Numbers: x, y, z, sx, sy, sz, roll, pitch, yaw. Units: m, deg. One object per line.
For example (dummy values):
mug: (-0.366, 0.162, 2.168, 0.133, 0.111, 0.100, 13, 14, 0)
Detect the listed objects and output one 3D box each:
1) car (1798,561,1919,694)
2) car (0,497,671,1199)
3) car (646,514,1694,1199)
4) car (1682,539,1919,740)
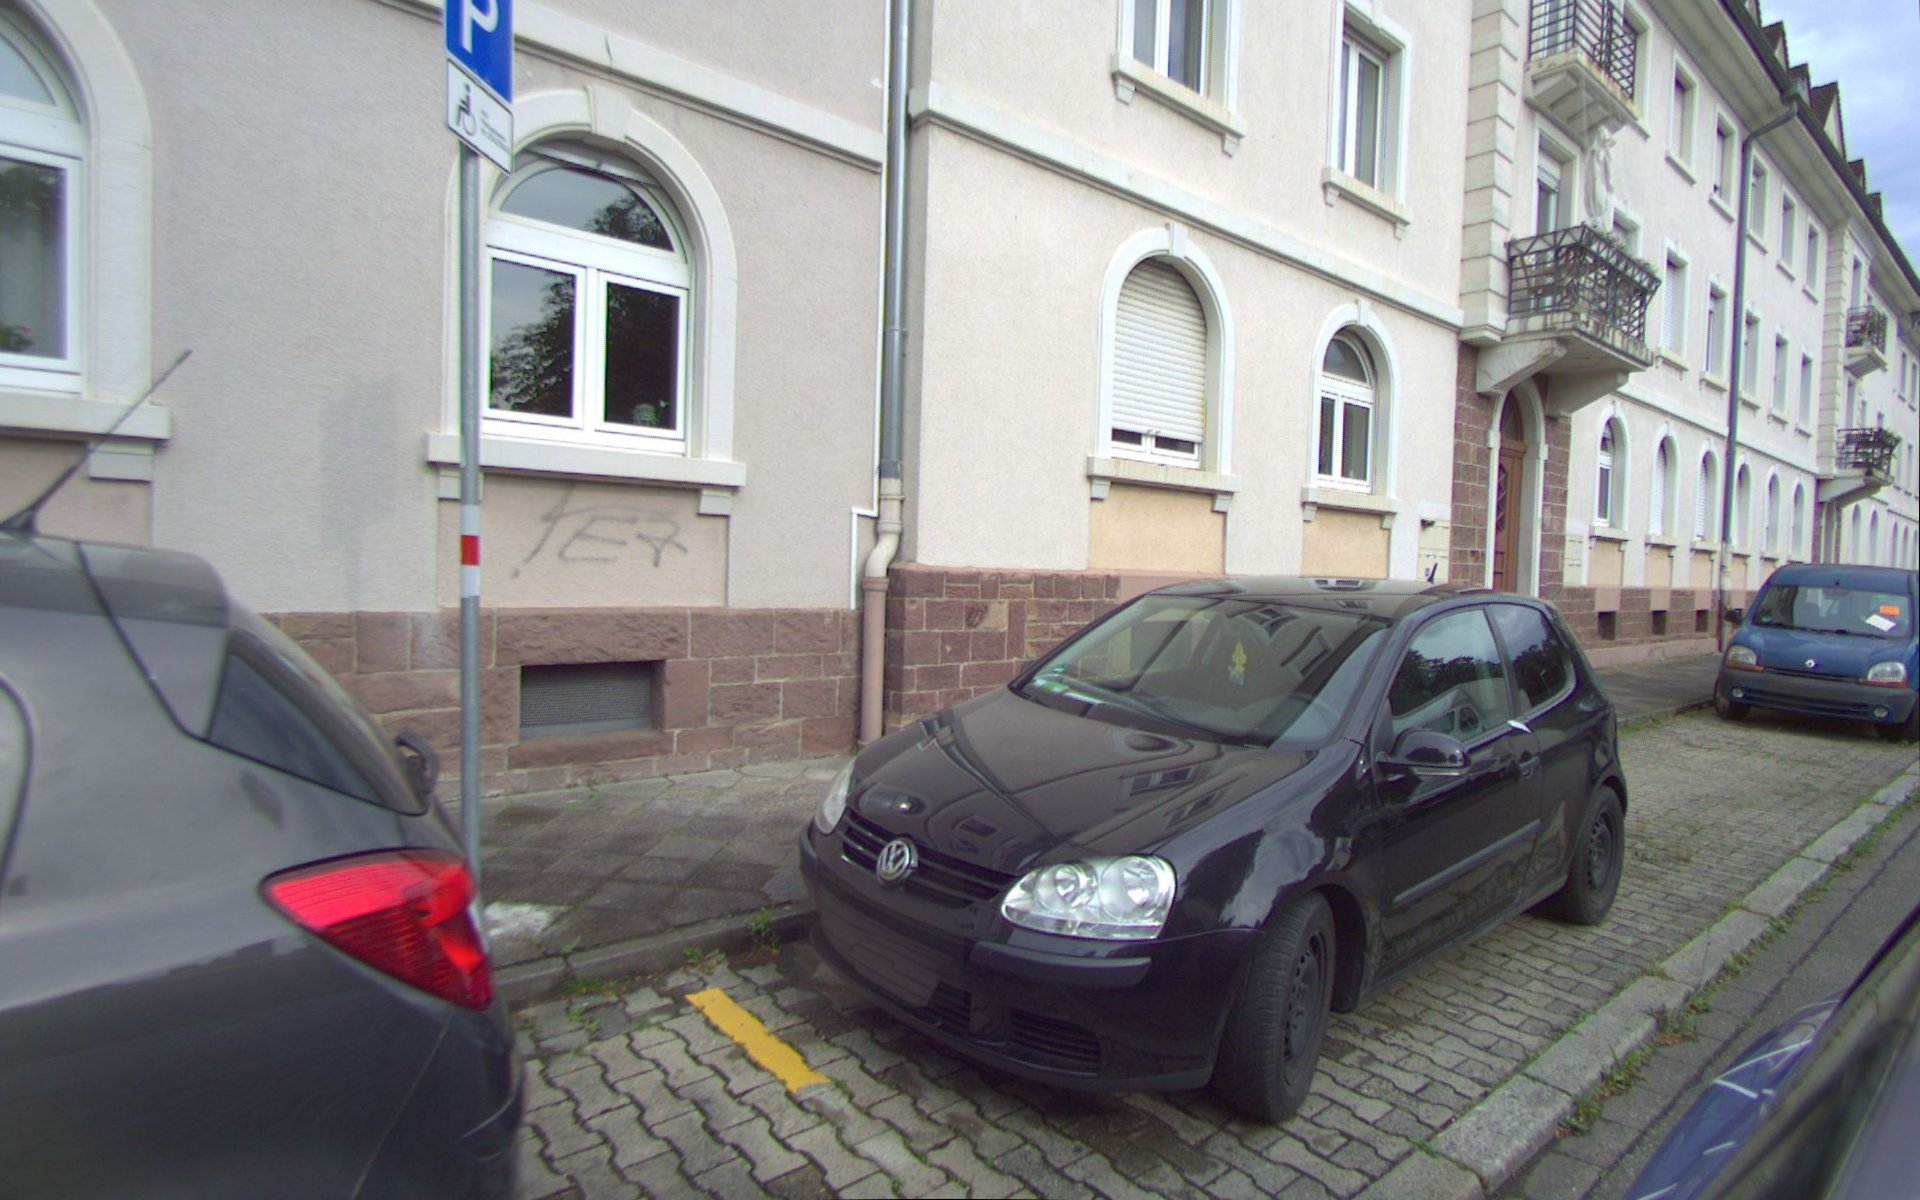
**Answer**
car: (14.037, 0.395, 14.912, 4.055, 1.656, 1.776, 1, 6, -40)
car: (-2.401, 0.593, 0.719, 3.836, 1.471, 1.691, 0, 5, -44)
car: (1.244, 0.563, 4.099, 4.464, 1.471, 1.692, 1, 5, -40)
car: (10.061, 0.342, 11.511, 4.112, 1.806, 1.943, 1, 5, -40)
